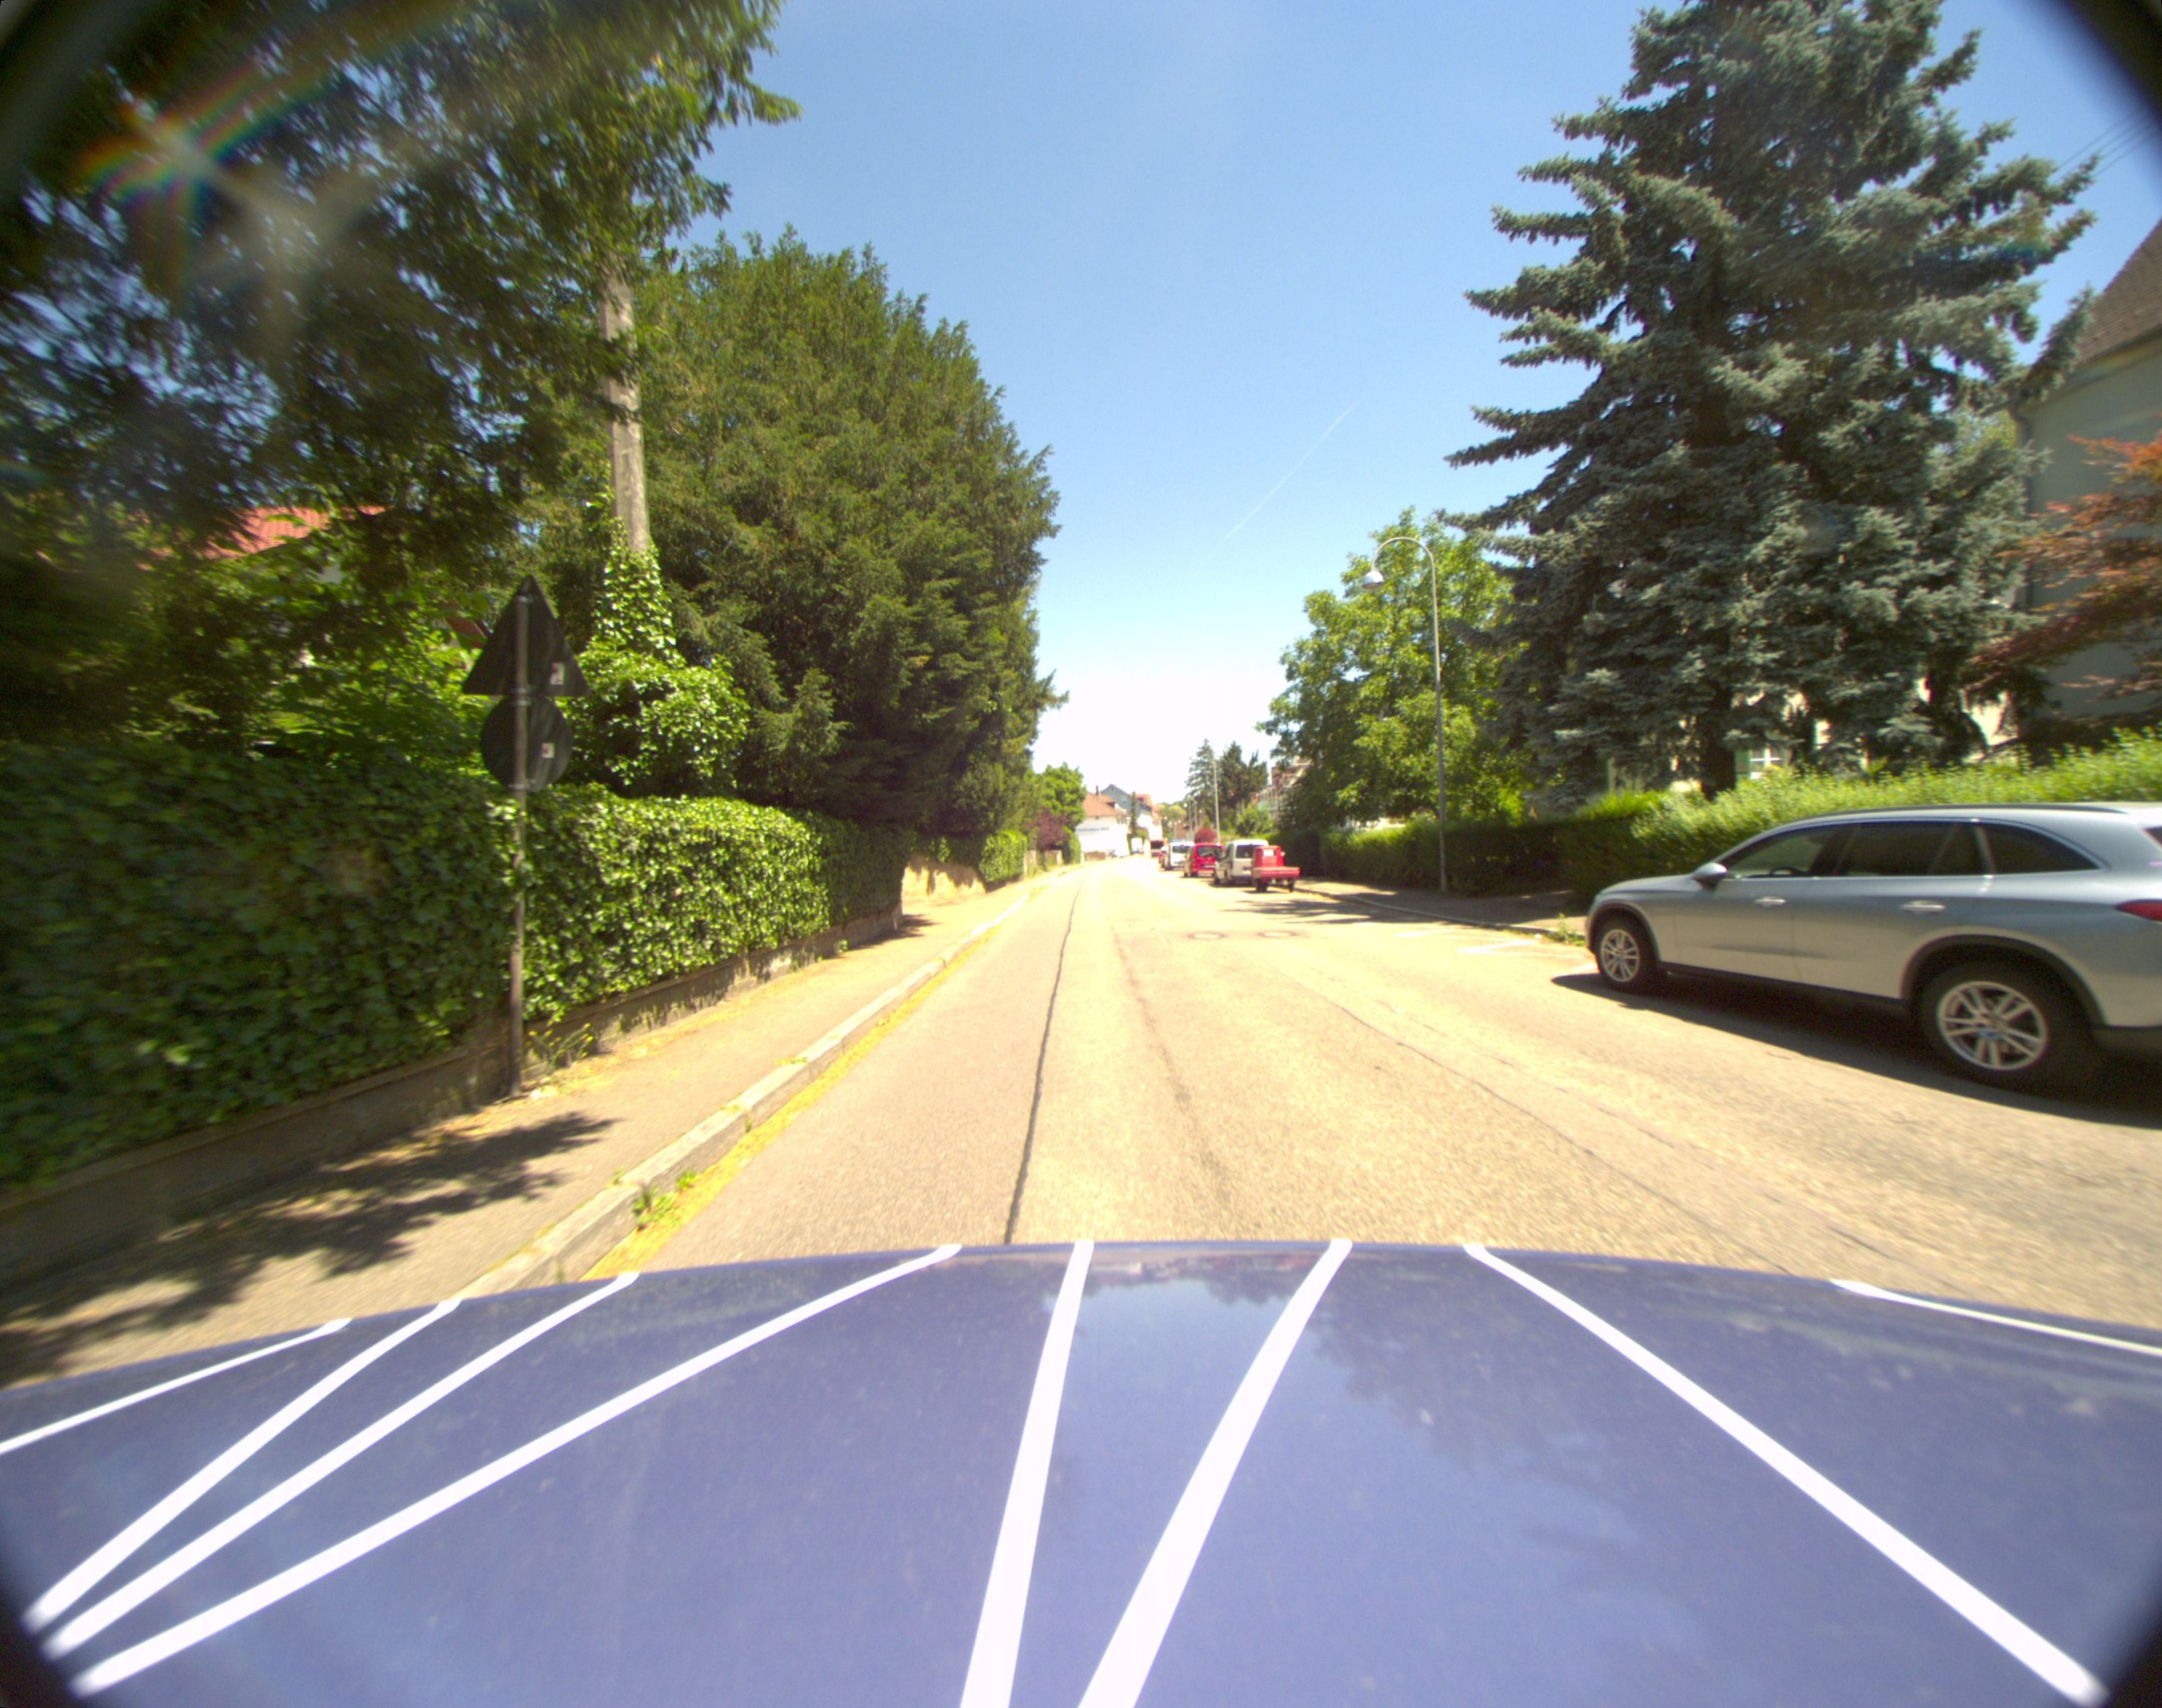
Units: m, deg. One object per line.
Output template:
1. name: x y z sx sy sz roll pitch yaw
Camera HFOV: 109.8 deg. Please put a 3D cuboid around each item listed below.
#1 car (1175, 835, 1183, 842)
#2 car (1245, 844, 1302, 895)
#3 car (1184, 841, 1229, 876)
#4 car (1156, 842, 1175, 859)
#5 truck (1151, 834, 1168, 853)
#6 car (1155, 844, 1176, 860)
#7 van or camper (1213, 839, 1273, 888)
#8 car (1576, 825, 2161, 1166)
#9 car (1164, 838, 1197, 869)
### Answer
1. car: 26.920 -4.186 208.048 1.891 1.726 4.002 0 1 12
2. car: 6.301 0.476 25.050 1.308 1.568 2.321 -1 1 1
3. car: 6.497 0.197 39.750 1.893 1.749 3.612 0 1 2
4. car: 9.534 -0.412 85.997 1.893 1.813 3.999 0 1 3
5. truck: 12.005 -1.611 116.056 2.226 2.915 6.727 0 1 9
6. car: 8.948 -0.268 80.620 1.893 1.628 3.999 0 1 2
7. van or camper: 6.274 0.336 29.780 1.583 1.760 3.888 -1 1 1
8. car: 5.969 0.642 5.500 1.773 1.610 4.548 -1 1 -1
9. car: 6.914 -0.060 53.011 1.893 2.103 3.999 0 1 2
